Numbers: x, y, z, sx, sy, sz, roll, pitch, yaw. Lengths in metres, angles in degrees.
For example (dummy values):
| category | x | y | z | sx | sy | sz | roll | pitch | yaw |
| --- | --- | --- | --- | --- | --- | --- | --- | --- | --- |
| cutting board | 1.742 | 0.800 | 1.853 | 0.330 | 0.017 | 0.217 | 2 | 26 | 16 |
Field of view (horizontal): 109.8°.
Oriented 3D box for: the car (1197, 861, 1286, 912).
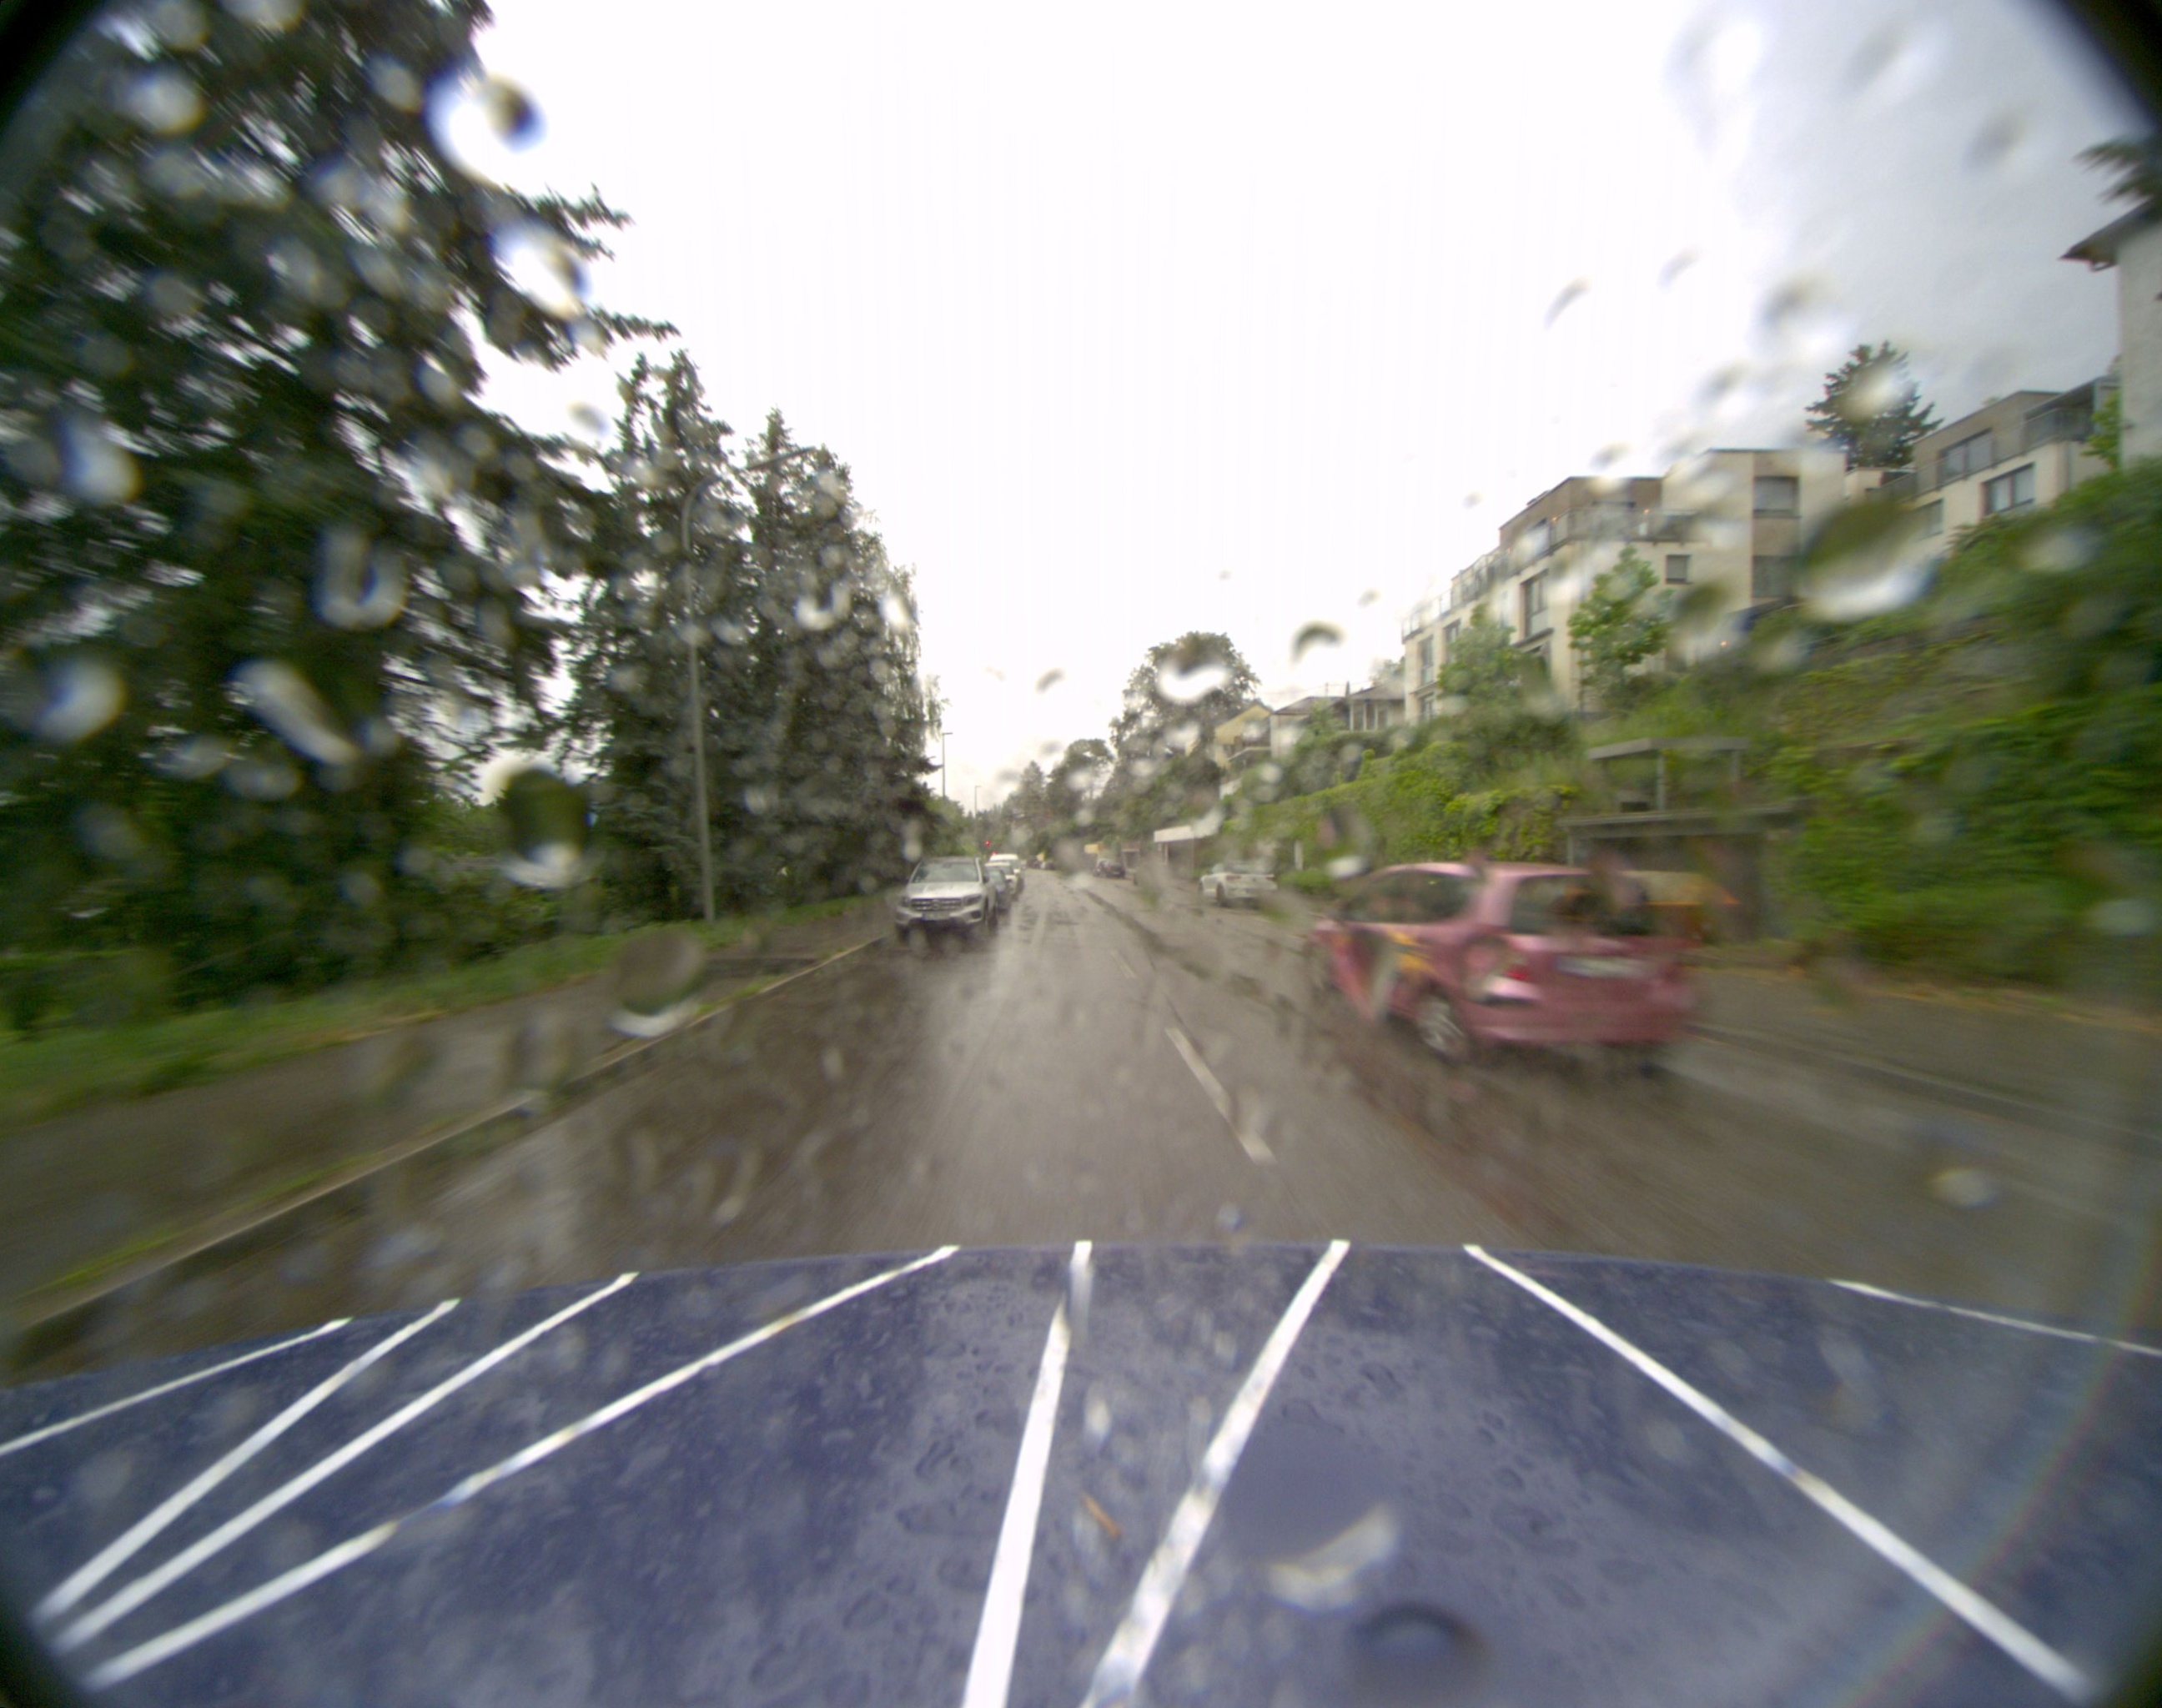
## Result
| category | x | y | z | sx | sy | sz | roll | pitch | yaw |
| --- | --- | --- | --- | --- | --- | --- | --- | --- | --- |
| car | 5.268 | 1.036 | 25.527 | 1.761 | 1.489 | 4.218 | 1 | 0 | -5 |

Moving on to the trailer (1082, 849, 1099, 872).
| category | x | y | z | sx | sy | sz | roll | pitch | yaw |
| --- | --- | --- | --- | --- | --- | --- | --- | --- | --- |
| trailer | 0.964 | 0.745 | 82.181 | 1.541 | 2.385 | 3.071 | 2 | 0 | -4 |

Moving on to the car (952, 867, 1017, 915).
| category | x | y | z | sx | sy | sz | roll | pitch | yaw |
| --- | --- | --- | --- | --- | --- | --- | --- | --- | --- |
| car | -2.920 | 1.082 | 23.838 | 1.635 | 1.274 | 4.446 | -1 | 0 | -2 |

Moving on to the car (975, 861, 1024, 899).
| category | x | y | z | sx | sy | sz | roll | pitch | yaw |
| --- | --- | --- | --- | --- | --- | --- | --- | --- | --- |
| car | -3.296 | 1.022 | 31.370 | 1.714 | 1.395 | 4.202 | -1 | 0 | -2 |

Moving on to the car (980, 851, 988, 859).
| category | x | y | z | sx | sy | sz | roll | pitch | yaw |
| --- | --- | --- | --- | --- | --- | --- | --- | --- | --- |
| car | -31.439 | 0.370 | 246.511 | 2.088 | 2.463 | 4.847 | 2 | 0 | -15 |

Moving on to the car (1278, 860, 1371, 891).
| category | x | y | z | sx | sy | sz | roll | pitch | yaw |
| --- | --- | --- | --- | --- | --- | --- | --- | --- | --- |
| car | 11.341 | 0.986 | 35.539 | 3.767 | 1.375 | 1.866 | 0 | 0 | -1 |

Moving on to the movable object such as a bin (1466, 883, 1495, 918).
| category | x | y | z | sx | sy | sz | roll | pitch | yaw |
| --- | --- | --- | --- | --- | --- | --- | --- | --- | --- |
| movable object such as a bin | 9.905 | 1.146 | 18.861 | 0.399 | 0.816 | 0.549 | -1 | 4 | -4 |

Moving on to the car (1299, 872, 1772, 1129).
| category | x | y | z | sx | sy | sz | roll | pitch | yaw |
| --- | --- | --- | --- | --- | --- | --- | --- | --- | --- |
| car | 3.354 | 0.938 | 6.515 | 1.667 | 1.452 | 3.660 | -1 | 0 | -5 |

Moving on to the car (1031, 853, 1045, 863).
| category | x | y | z | sx | sy | sz | roll | pitch | yaw |
| --- | --- | --- | --- | --- | --- | --- | --- | --- | --- |
| car | -8.404 | 0.818 | 148.801 | 2.166 | 1.907 | 5.318 | 1 | 0 | -10 |

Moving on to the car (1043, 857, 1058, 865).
| category | x | y | z | sx | sy | sz | roll | pitch | yaw |
| --- | --- | --- | --- | --- | --- | --- | --- | --- | --- |
| car | -5.132 | 1.169 | 127.651 | 1.722 | 1.357 | 4.079 | 2 | -1 | -12 |

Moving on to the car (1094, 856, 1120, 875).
| category | x | y | z | sx | sy | sz | roll | pitch | yaw |
| --- | --- | --- | --- | --- | --- | --- | --- | --- | --- |
| car | 2.250 | 1.028 | 67.076 | 1.761 | 1.530 | 3.754 | 3 | -1 | -6 |

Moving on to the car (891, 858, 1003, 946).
| category | x | y | z | sx | sy | sz | roll | pitch | yaw |
| --- | --- | --- | --- | --- | --- | --- | --- | --- | --- |
| car | -2.782 | 0.926 | 16.679 | 1.820 | 1.636 | 4.394 | -1 | 0 | -2 |

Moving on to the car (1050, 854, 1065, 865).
| category | x | y | z | sx | sy | sz | roll | pitch | yaw |
| --- | --- | --- | --- | --- | --- | --- | --- | --- | --- |
| car | -3.671 | 0.873 | 117.755 | 1.880 | 1.616 | 4.590 | 3 | -1 | -8 |

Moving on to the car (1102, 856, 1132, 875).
| category | x | y | z | sx | sy | sz | roll | pitch | yaw |
| --- | --- | --- | --- | --- | --- | --- | --- | --- | --- |
| car | 2.893 | 0.956 | 61.614 | 1.761 | 1.400 | 3.703 | 3 | -1 | -6 |

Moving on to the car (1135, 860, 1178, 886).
| category | x | y | z | sx | sy | sz | roll | pitch | yaw |
| --- | --- | --- | --- | --- | --- | --- | --- | --- | --- |
| car | 4.357 | 1.074 | 44.621 | 1.761 | 1.394 | 3.768 | 2 | 0 | -6 |

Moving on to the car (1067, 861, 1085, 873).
| category | x | y | z | sx | sy | sz | roll | pitch | yaw |
| --- | --- | --- | --- | --- | --- | --- | --- | --- | --- |
| car | -0.651 | 1.593 | 94.214 | 1.791 | 1.406 | 4.215 | 1 | -1 | -7 |

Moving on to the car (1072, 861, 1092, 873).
| category | x | y | z | sx | sy | sz | roll | pitch | yaw |
| --- | --- | --- | --- | --- | --- | --- | --- | --- | --- |
| car | 0.090 | 1.496 | 87.391 | 1.814 | 1.341 | 3.773 | 1 | -1 | -8 |

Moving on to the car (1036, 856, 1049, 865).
| category | x | y | z | sx | sy | sz | roll | pitch | yaw |
| --- | --- | --- | --- | --- | --- | --- | --- | --- | --- |
| car | -7.003 | 1.218 | 138.536 | 1.915 | 1.472 | 4.751 | 2 | 0 | -9 |

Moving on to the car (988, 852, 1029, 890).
| category | x | y | z | sx | sy | sz | roll | pitch | yaw |
| --- | --- | --- | --- | --- | --- | --- | --- | --- | --- |
| car | -3.594 | 0.820 | 38.186 | 1.789 | 1.780 | 4.360 | -1 | 0 | -2 |
